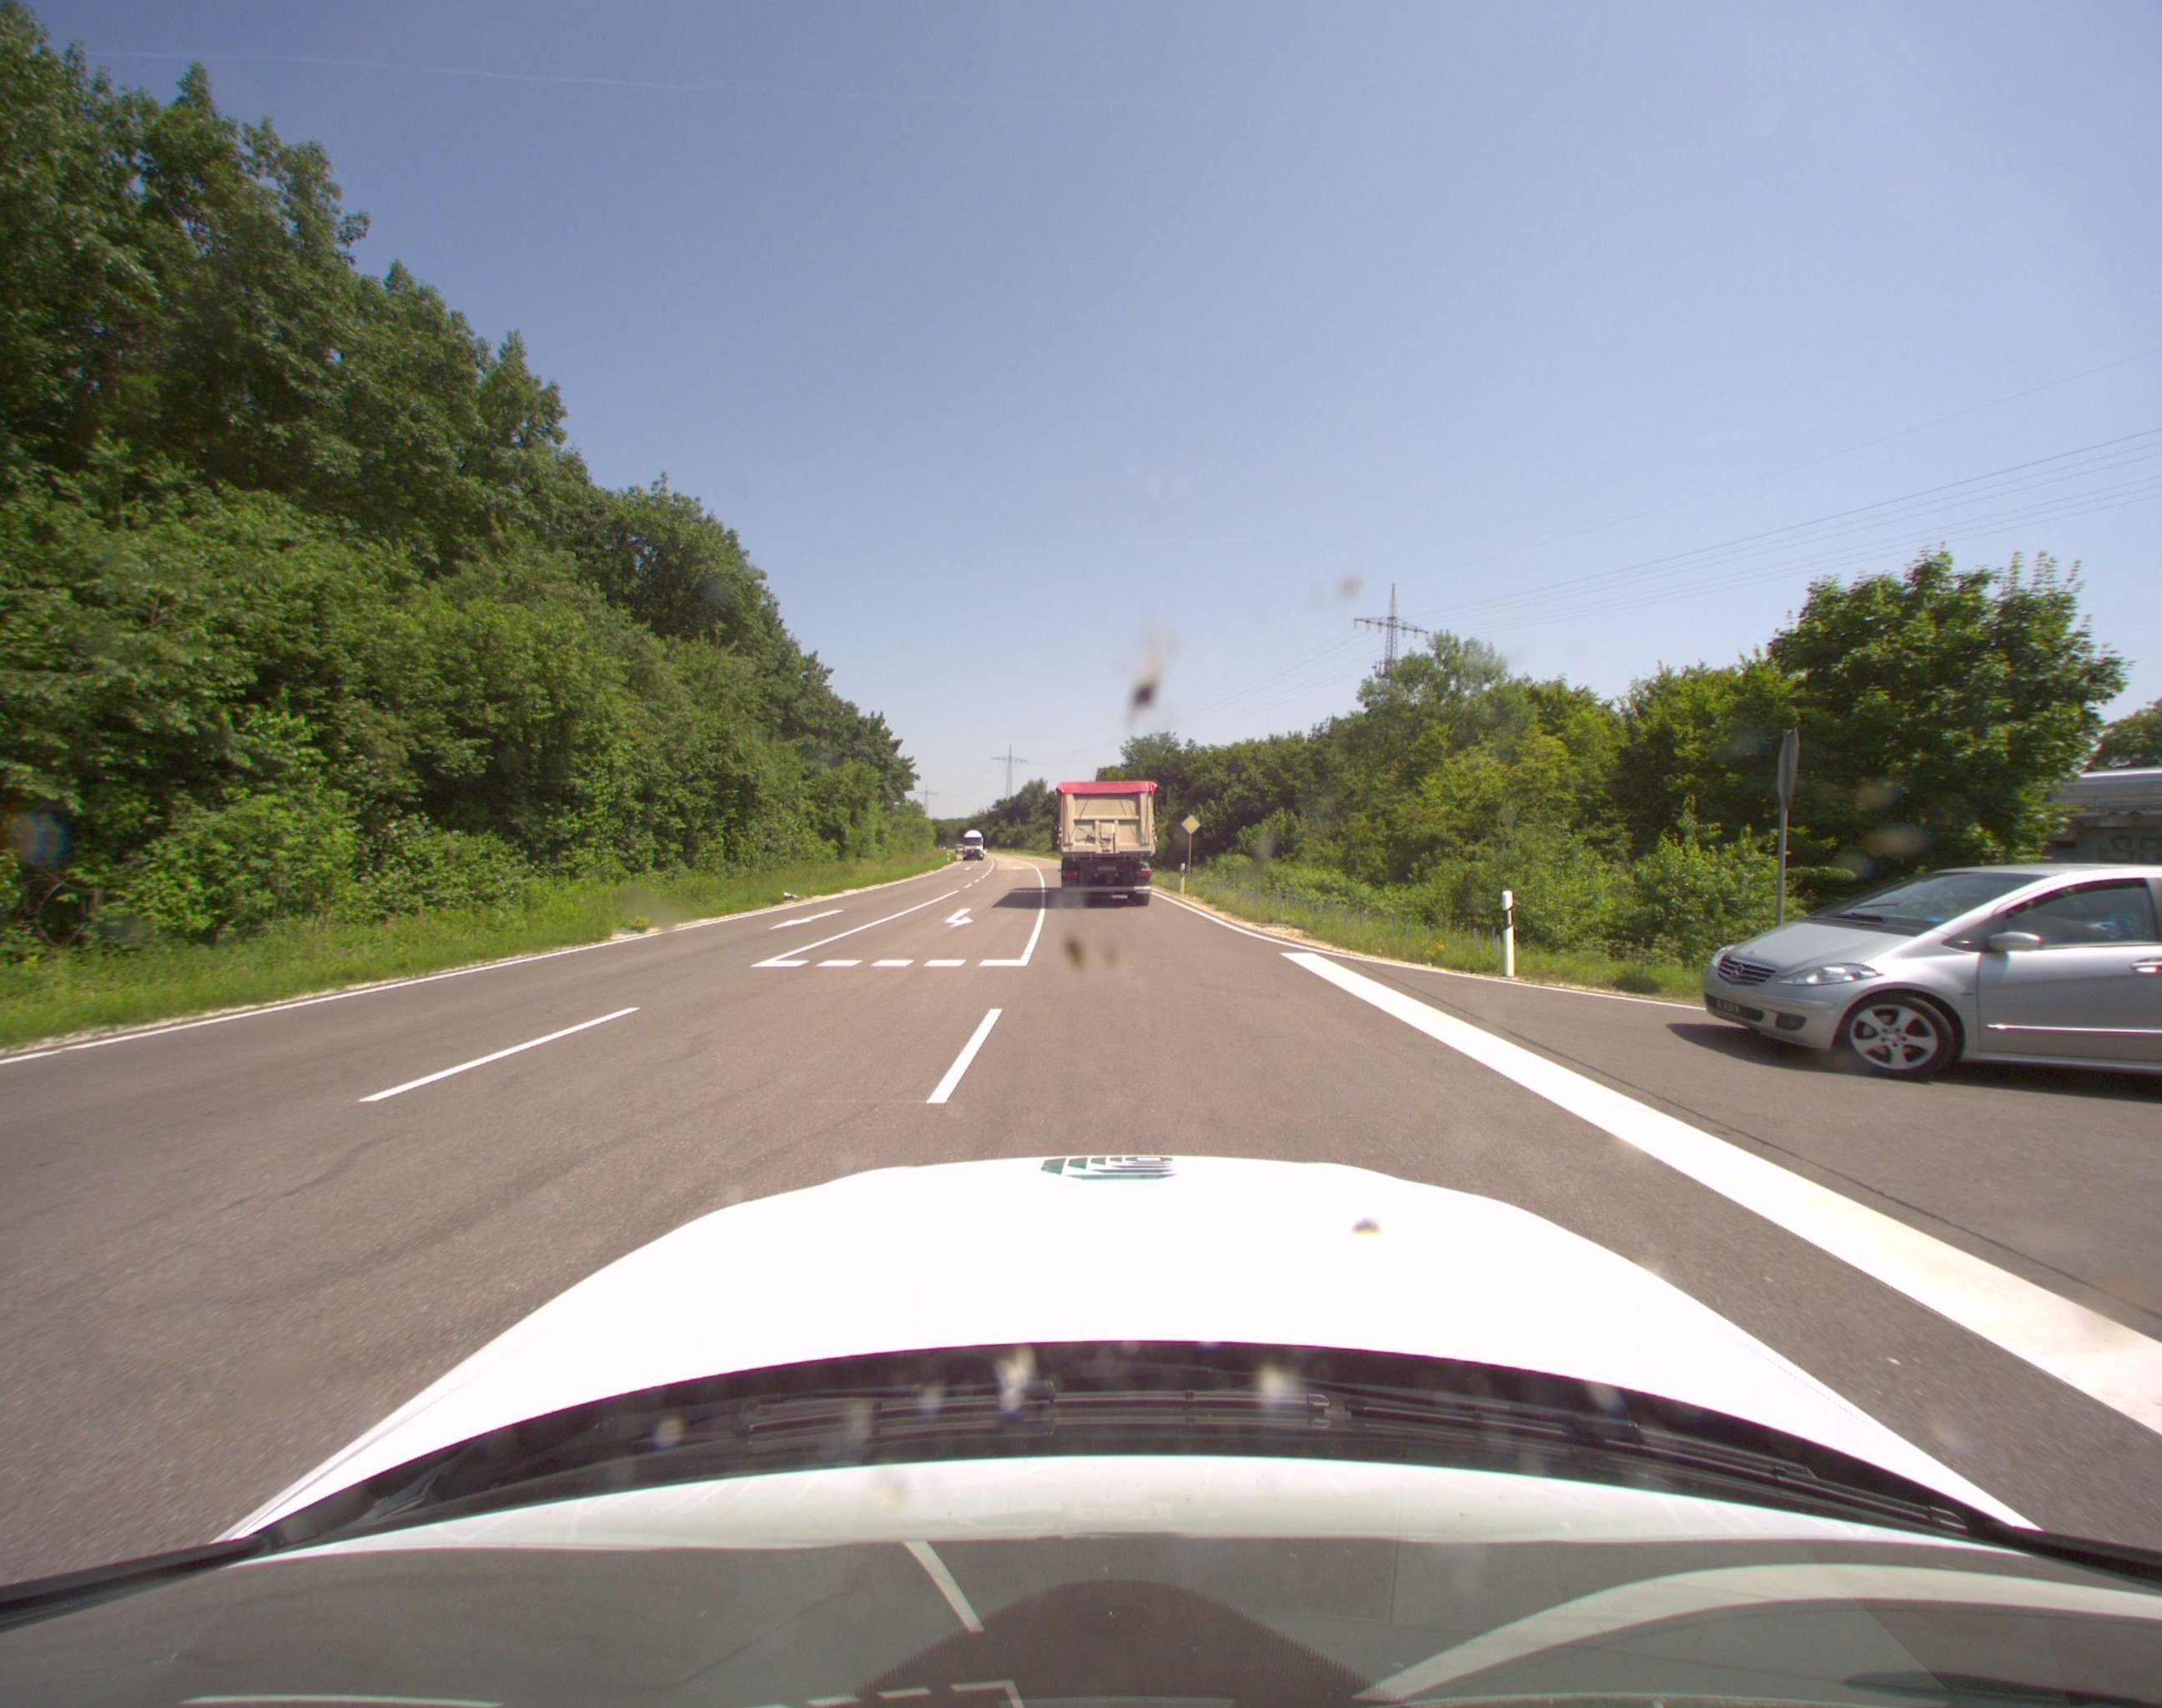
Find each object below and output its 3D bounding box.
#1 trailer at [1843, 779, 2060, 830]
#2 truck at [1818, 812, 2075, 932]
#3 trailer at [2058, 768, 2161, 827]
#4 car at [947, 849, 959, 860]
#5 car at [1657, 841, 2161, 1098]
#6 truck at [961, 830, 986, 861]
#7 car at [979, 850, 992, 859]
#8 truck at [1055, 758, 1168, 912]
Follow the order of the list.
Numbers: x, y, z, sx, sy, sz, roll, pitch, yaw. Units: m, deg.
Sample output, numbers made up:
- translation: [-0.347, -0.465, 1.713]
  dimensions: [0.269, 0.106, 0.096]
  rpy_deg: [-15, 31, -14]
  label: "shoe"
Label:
- translation: [69.573, -3.799, 65.664]
  dimensions: [2.915, 3.255, 11.687]
  rpy_deg: [-1, -1, -21]
  label: "trailer"
- translation: [45.140, 0.824, 43.639]
  dimensions: [3.333, 5.315, 15.424]
  rpy_deg: [-1, -1, 22]
  label: "truck"
- translation: [55.974, -2.956, 42.365]
  dimensions: [2.249, 2.819, 6.226]
  rpy_deg: [-1, -1, -24]
  label: "trailer"
- translation: [-21.698, 0.107, 138.109]
  dimensions: [1.841, 1.779, 4.881]
  rpy_deg: [-1, 0, -7]
  label: "car"
- translation: [7.106, 0.813, 6.257]
  dimensions: [3.953, 1.580, 1.852]
  rpy_deg: [3, -1, 13]
  label: "car"
- translation: [-13.321, -1.027, 101.174]
  dimensions: [2.623, 3.671, 8.780]
  rpy_deg: [-1, 0, -5]
  label: "truck"
- translation: [-15.763, 0.044, 134.350]
  dimensions: [1.703, 1.419, 4.096]
  rpy_deg: [-1, 0, -1]
  label: "car"
- translation: [0.621, -0.525, 27.042]
  dimensions: [2.886, 3.962, 11.924]
  rpy_deg: [-1, 0, -2]
  label: "truck"
